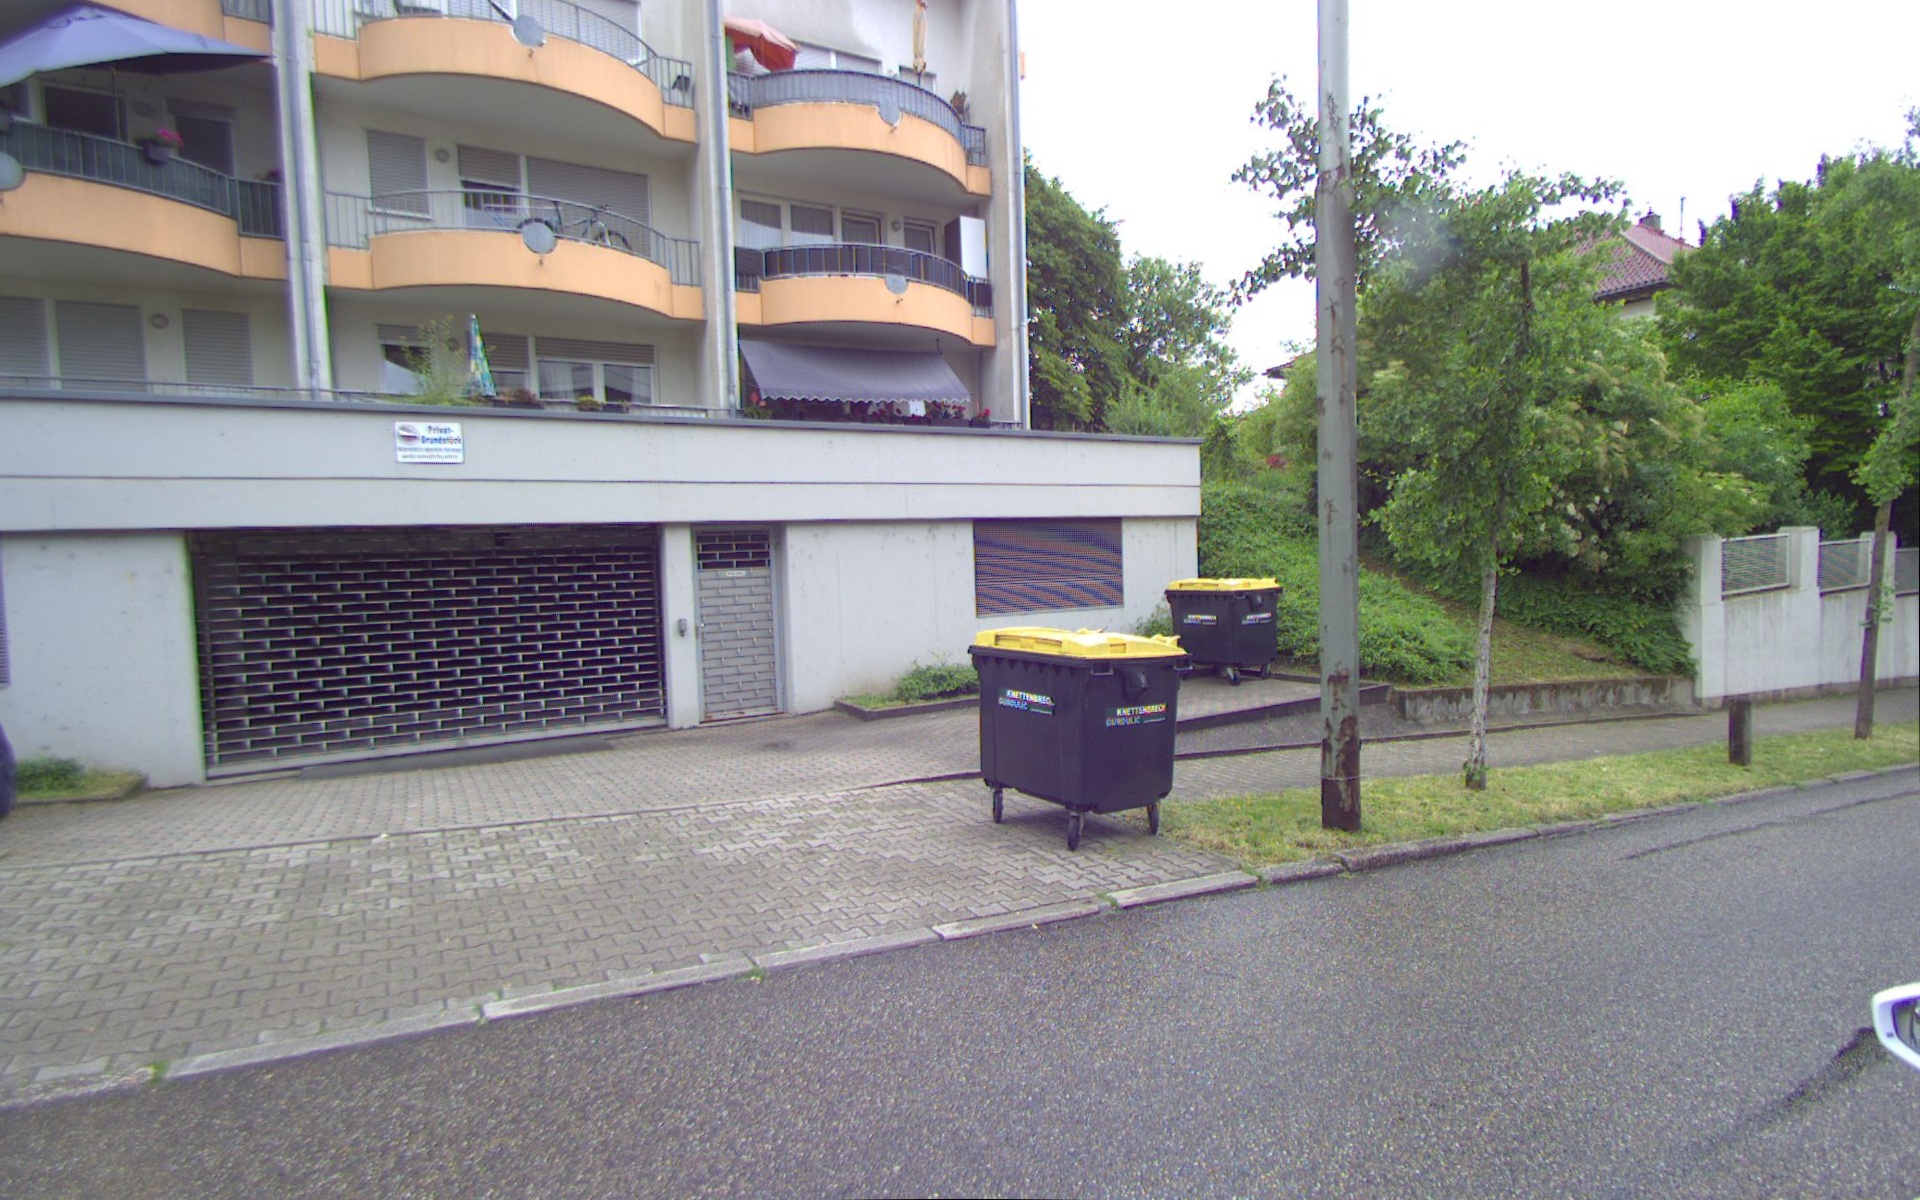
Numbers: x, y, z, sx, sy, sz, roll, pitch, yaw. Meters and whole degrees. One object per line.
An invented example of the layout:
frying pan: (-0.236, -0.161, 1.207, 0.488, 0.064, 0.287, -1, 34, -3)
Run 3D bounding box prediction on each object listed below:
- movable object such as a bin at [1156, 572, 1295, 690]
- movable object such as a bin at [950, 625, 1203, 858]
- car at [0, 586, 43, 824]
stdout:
movable object such as a bin: (3.534, 0.365, 13.398, 1.215, 1.383, 1.289, -7, 6, -36)
movable object such as a bin: (0.773, 0.870, 6.877, 1.145, 1.324, 1.288, 0, 2, -38)
car: (-8.133, 0.670, 5.649, 4.050, 1.582, 1.770, 1, -4, -31)
